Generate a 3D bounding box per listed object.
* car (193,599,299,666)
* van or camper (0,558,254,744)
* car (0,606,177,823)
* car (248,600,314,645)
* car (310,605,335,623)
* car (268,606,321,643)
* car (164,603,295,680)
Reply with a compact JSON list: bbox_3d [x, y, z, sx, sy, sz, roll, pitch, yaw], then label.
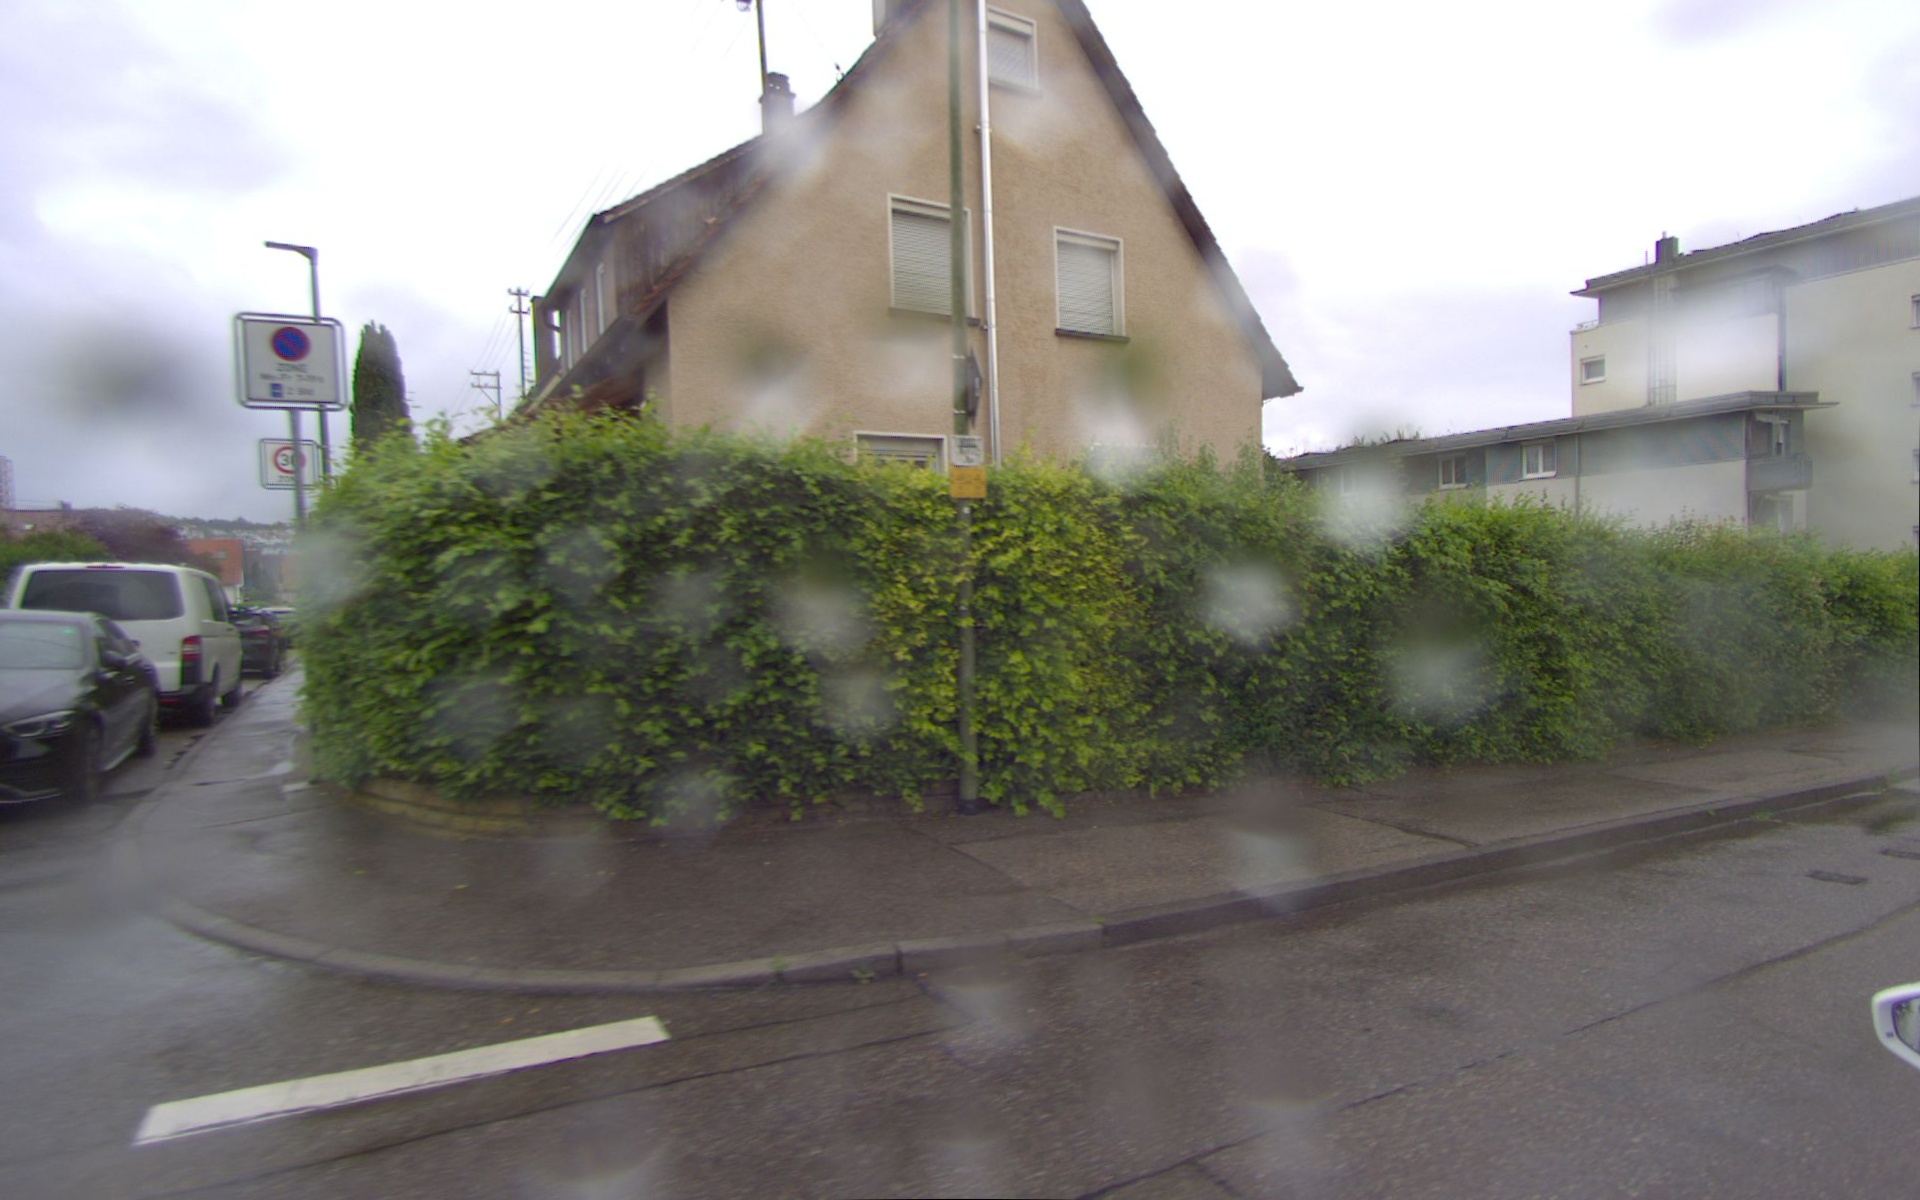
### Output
[{"bbox_3d":[-18.694,0.819,26.464,1.872,1.630,4.055,1,-1,-30],"label":"car"},{"bbox_3d":[-10.510,0.566,12.907,1.912,1.956,4.527,1,-1,-30],"label":"van or camper"},{"bbox_3d":[-7.983,0.764,8.188,1.872,1.417,4.560,1,-1,-30],"label":"car"},{"bbox_3d":[-26.490,0.903,39.276,1.799,1.640,4.055,1,-2,-30],"label":"car"},{"bbox_3d":[-58.287,1.316,91.834,1.728,1.497,4.072,1,-2,-30],"label":"car"},{"bbox_3d":[-30.995,1.174,46.866,1.799,1.619,4.055,1,-2,-30],"label":"car"},{"bbox_3d":[-15.945,0.850,22.132,1.872,1.515,4.055,1,-1,-30],"label":"car"}]
